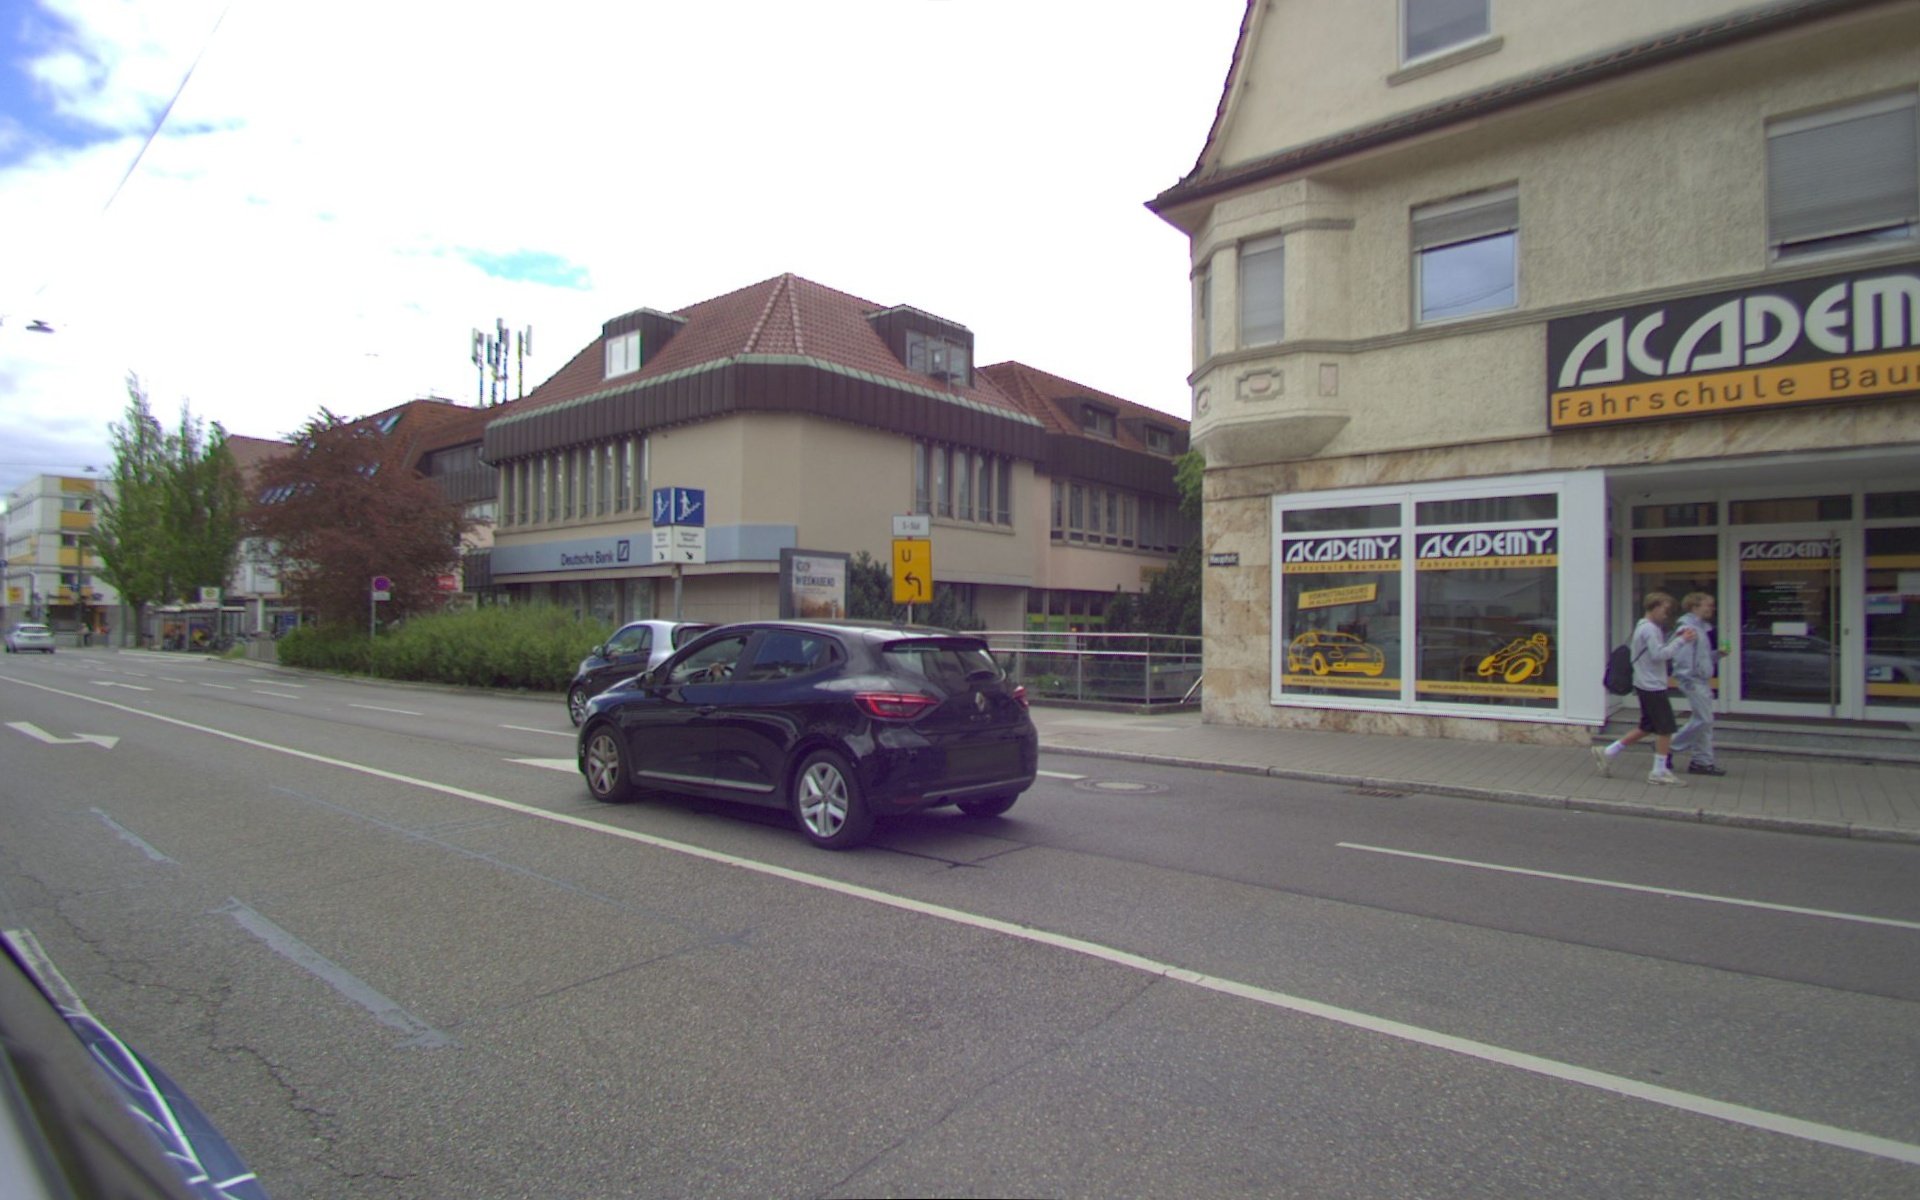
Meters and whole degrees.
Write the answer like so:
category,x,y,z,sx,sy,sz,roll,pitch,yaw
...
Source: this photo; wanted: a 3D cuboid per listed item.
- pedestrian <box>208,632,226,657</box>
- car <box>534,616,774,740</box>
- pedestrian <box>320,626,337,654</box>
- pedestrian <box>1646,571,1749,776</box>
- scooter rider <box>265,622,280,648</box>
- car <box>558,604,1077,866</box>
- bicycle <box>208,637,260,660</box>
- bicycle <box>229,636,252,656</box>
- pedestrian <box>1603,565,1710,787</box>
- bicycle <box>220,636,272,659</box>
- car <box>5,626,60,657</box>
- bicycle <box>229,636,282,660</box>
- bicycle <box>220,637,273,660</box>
category,x,y,z,sx,sy,sz,roll,pitch,yaw
pedestrian,-41.118,2.472,56.004,0.588,1.374,0.704,-3,-2,42
car,-4.386,1.038,14.291,3.505,1.535,1.600,-2,-4,41
pedestrian,-35.710,2.280,57.231,0.587,1.559,0.704,-3,-2,40
pedestrian,6.754,0.643,9.269,0.680,1.775,0.680,-2,-1,40
scooter rider,-45.408,2.311,66.805,0.587,1.725,0.607,-2,0,37
car,-1.211,0.808,7.475,3.919,1.439,1.600,-2,-3,40
bicycle,-36.311,2.398,50.641,0.648,1.098,2.000,-2,-2,36
bicycle,-39.708,2.518,55.859,1.928,1.098,0.528,-1,-2,39
pedestrian,6.095,0.643,8.860,0.680,1.838,0.626,-2,-3,40
bicycle,-35.360,2.347,50.134,0.646,1.098,2.003,-1,-2,31
car,-49.559,2.229,54.047,3.924,1.580,1.623,-2,-5,41
bicycle,-33.982,2.302,48.822,0.646,1.098,2.003,-1,-2,31
bicycle,-34.622,2.344,49.139,0.646,1.098,2.003,-1,-2,31
